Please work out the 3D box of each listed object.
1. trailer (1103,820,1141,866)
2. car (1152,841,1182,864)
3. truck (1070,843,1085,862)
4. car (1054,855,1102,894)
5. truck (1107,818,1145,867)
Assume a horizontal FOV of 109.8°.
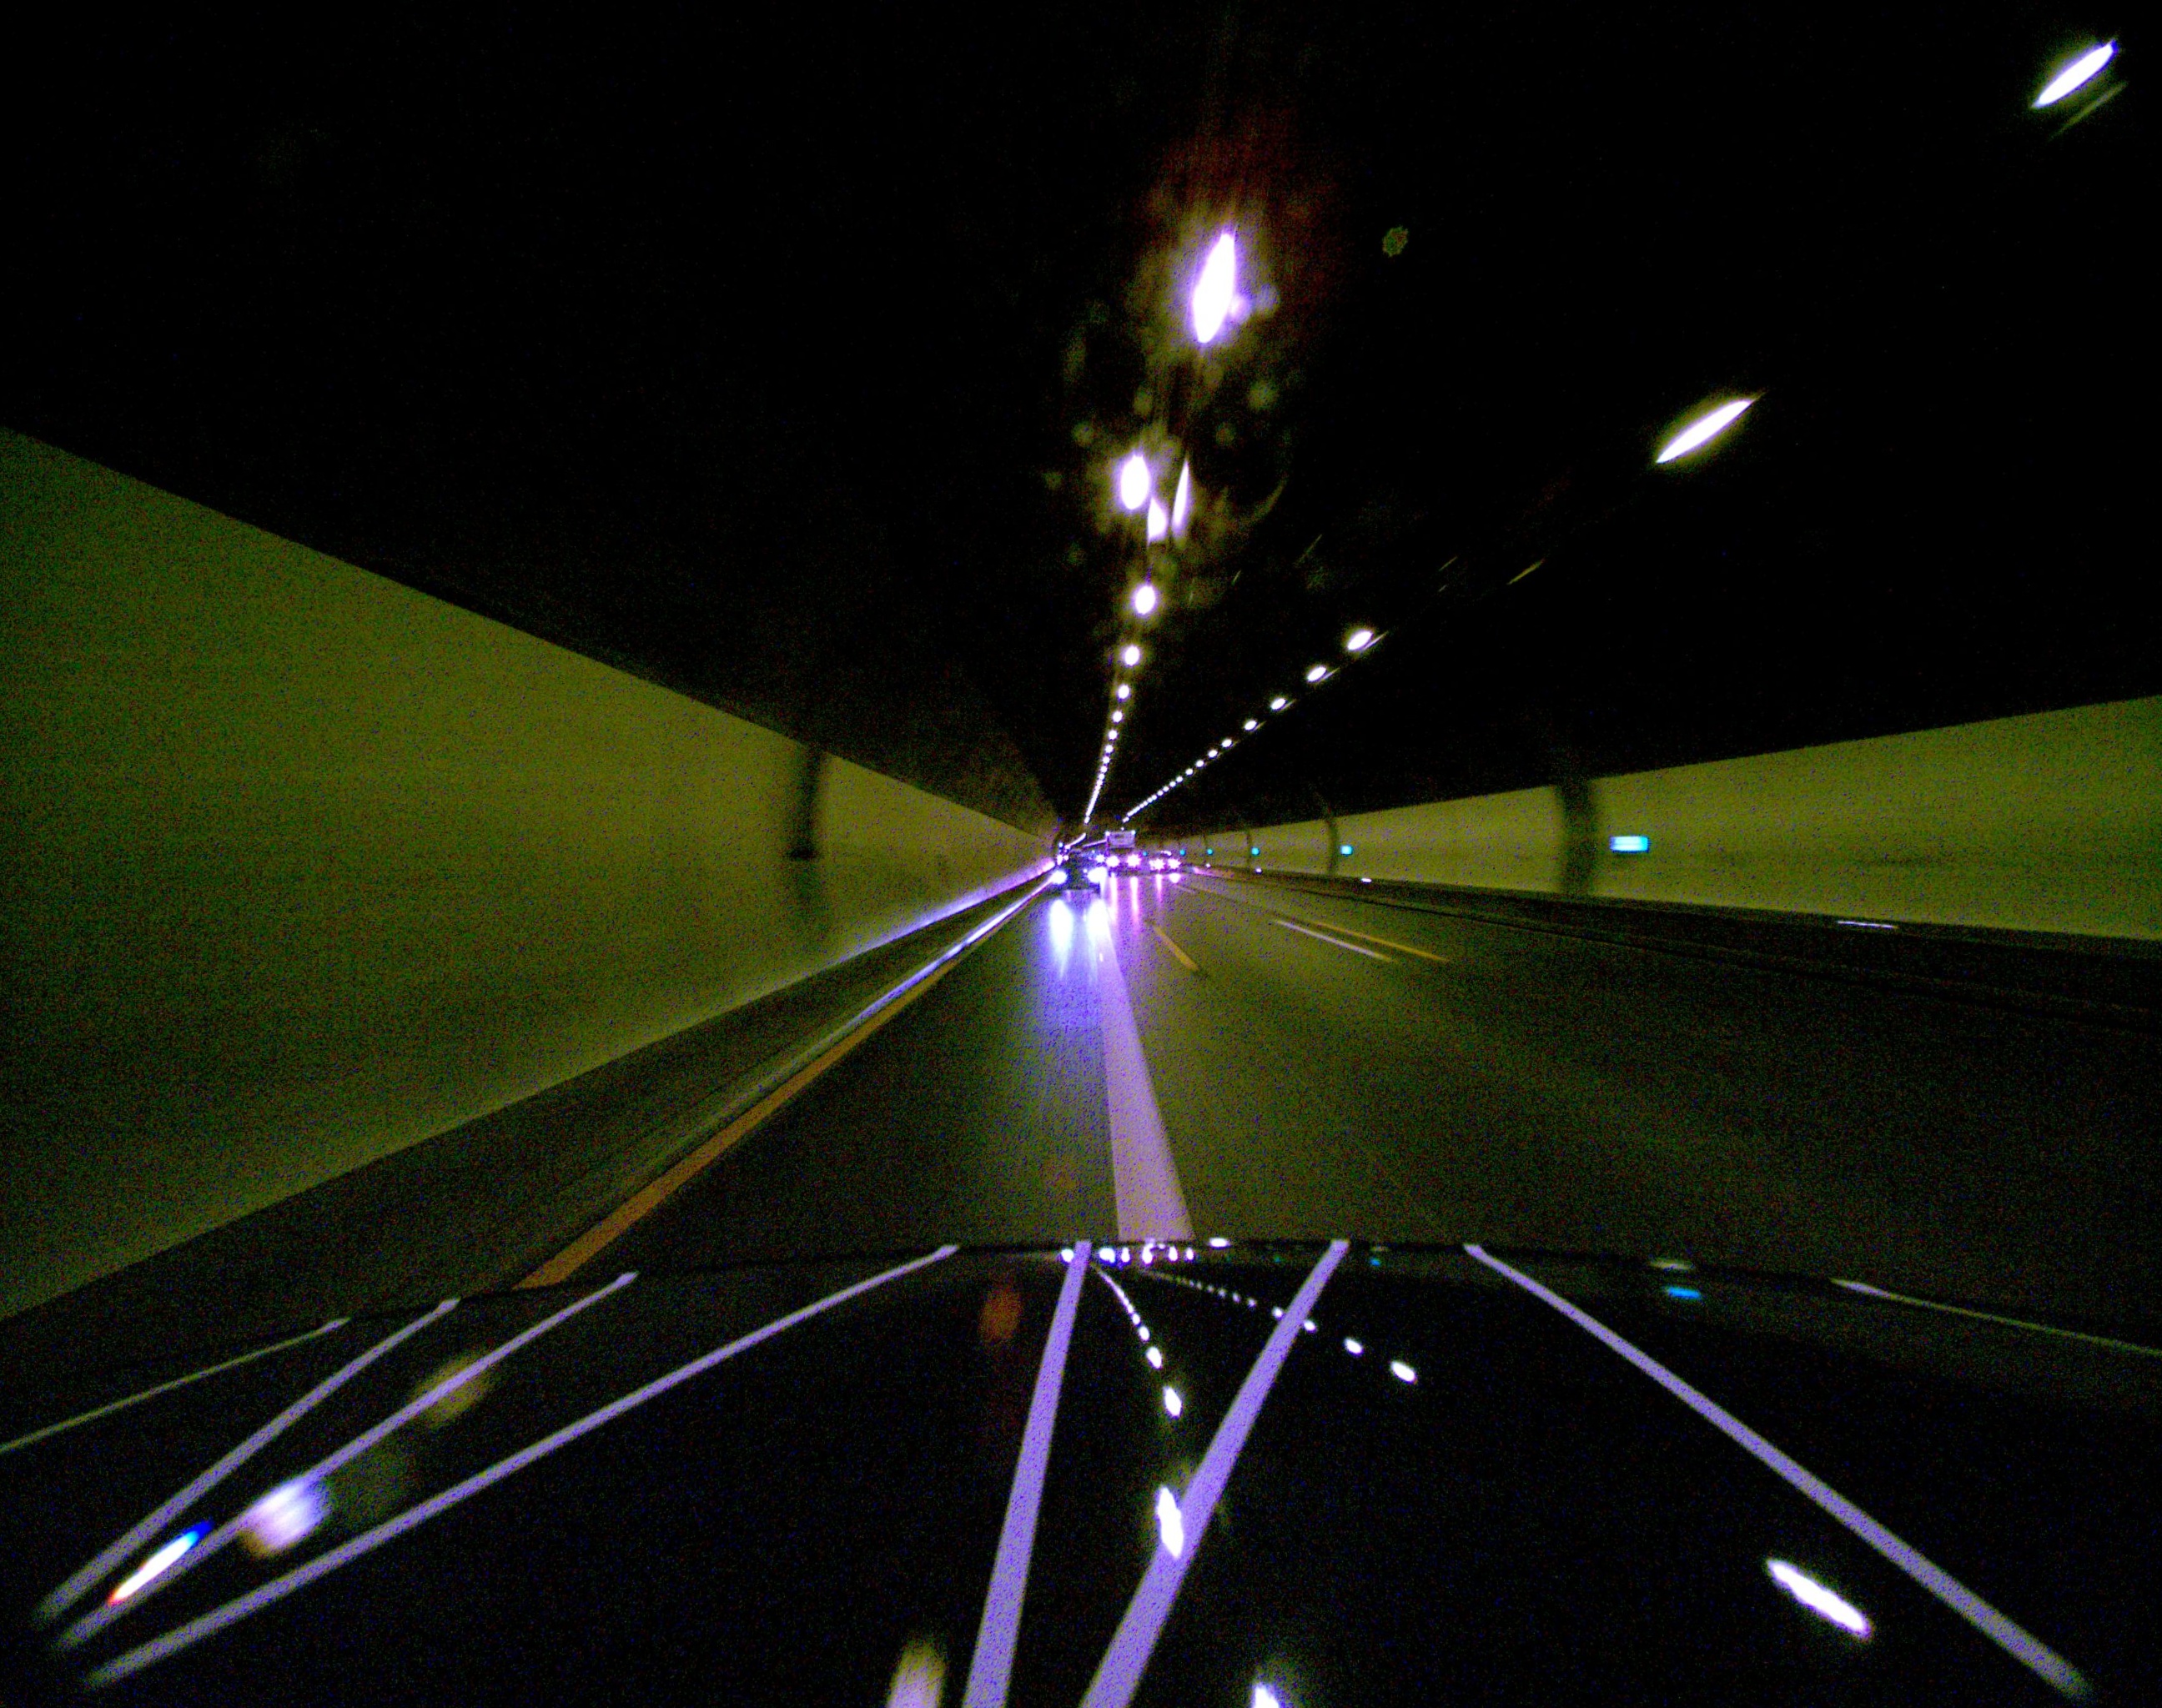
[{"bbox_3d":[3.194,-0.831,61.980,2.374,3.328,12.078,-3,0,0],"label":"trailer"},{"bbox_3d":[6.406,-0.134,56.972,1.766,1.563,4.097,-1,1,0],"label":"car"},{"bbox_3d":[-0.486,-0.153,118.001,2.151,2.609,9.909,-1,-1,1],"label":"truck"},{"bbox_3d":[-0.069,0.815,31.738,1.727,1.474,4.001,-1,0,4],"label":"car"},{"bbox_3d":[3.207,-0.840,55.443,2.374,3.328,4.718,-3,0,1],"label":"truck"}]
